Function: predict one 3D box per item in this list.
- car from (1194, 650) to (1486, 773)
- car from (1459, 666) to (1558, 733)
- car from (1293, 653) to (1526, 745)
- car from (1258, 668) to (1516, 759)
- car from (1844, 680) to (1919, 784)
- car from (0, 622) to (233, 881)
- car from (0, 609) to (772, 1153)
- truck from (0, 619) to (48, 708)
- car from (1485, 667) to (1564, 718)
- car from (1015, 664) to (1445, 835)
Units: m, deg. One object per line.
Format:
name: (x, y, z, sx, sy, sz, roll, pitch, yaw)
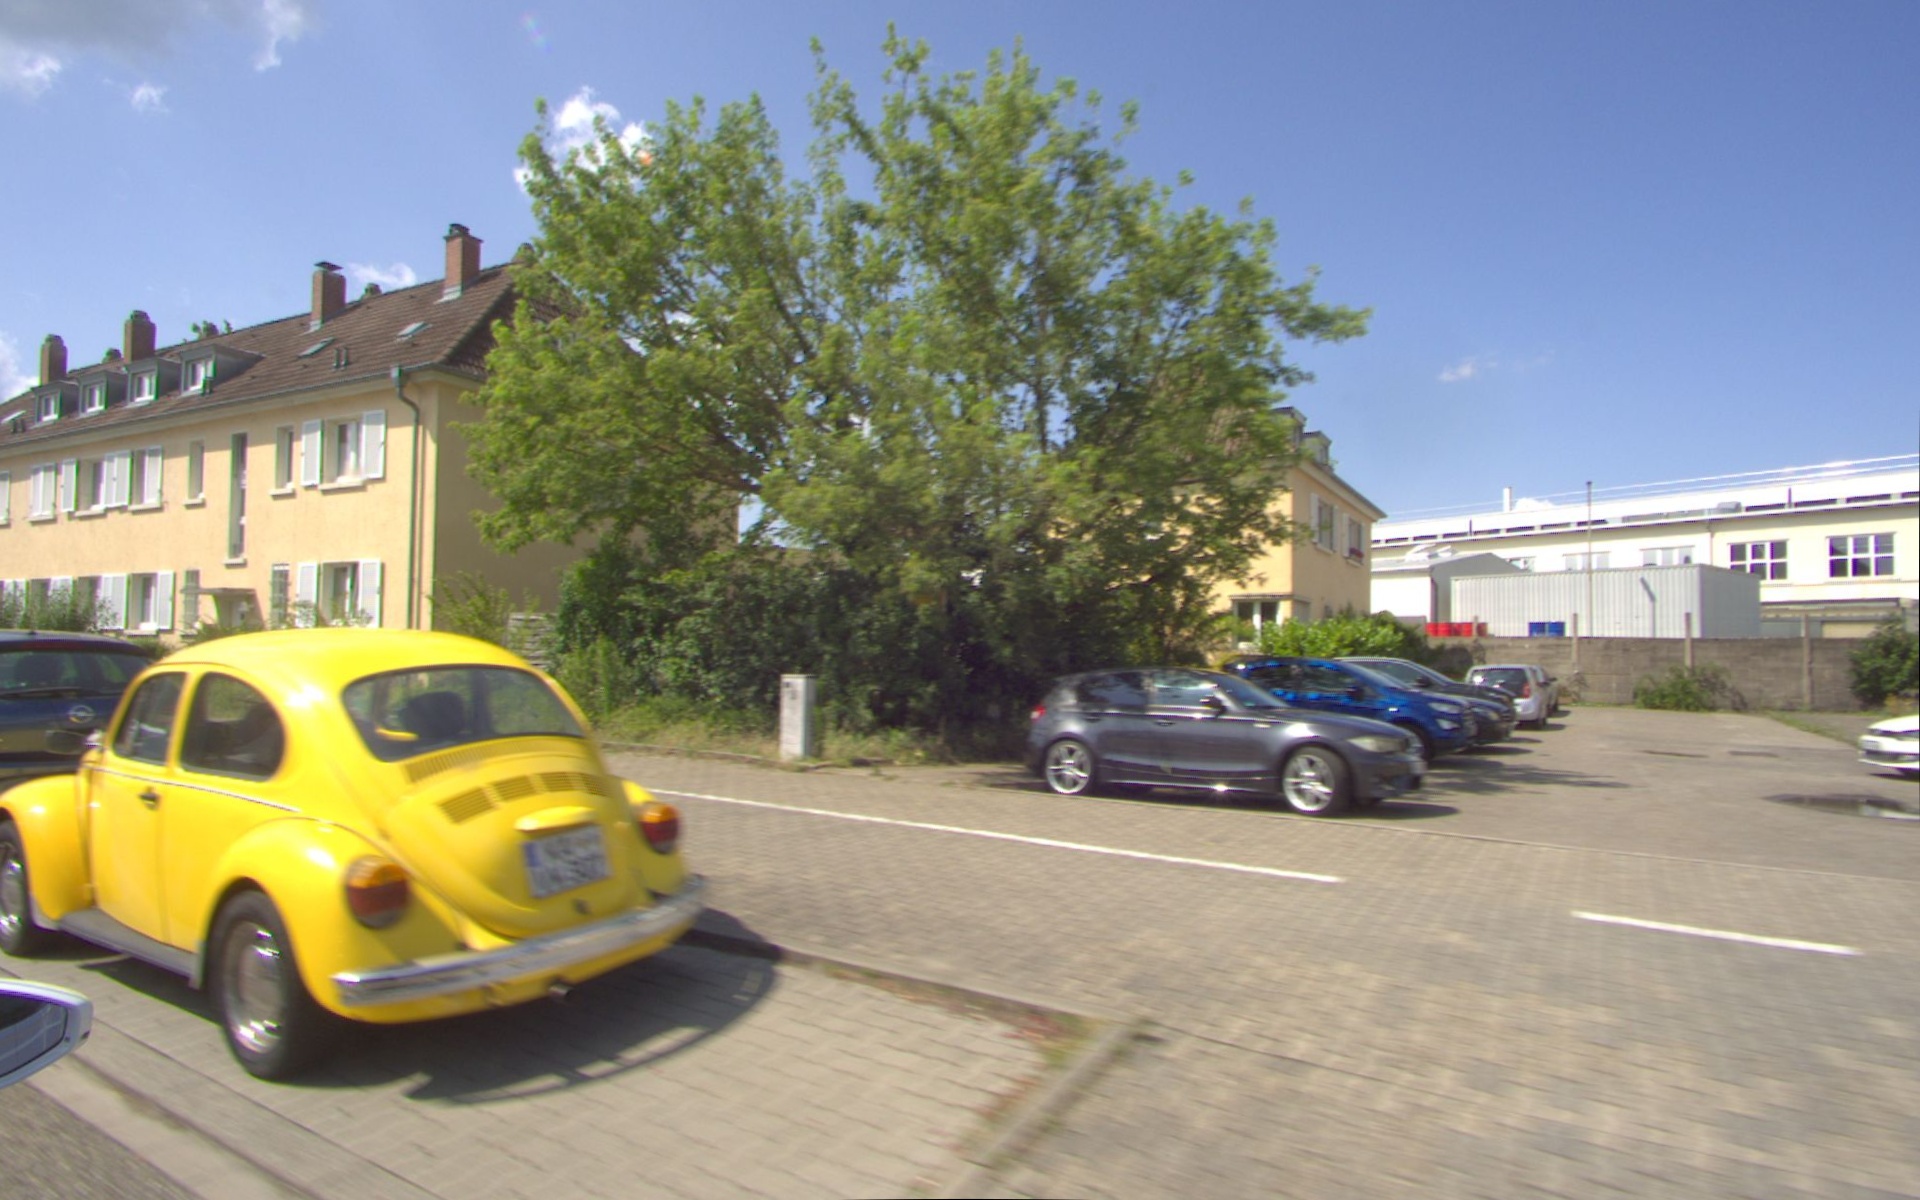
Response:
car: (5.905, 1.642, 15.721, 4.031, 1.567, 1.632, -1, 0, 34)
car: (13.052, 2.301, 23.719, 1.620, 1.453, 4.066, -3, -5, 34)
car: (8.986, 1.958, 20.127, 4.033, 1.684, 1.633, -3, -5, 34)
car: (7.575, 1.944, 17.910, 4.032, 1.418, 1.633, -2, -4, 34)
car: (14.997, 1.864, 13.674, 4.017, 1.390, 1.640, 0, -4, 22)
car: (-7.149, 0.918, 7.122, 4.062, 1.500, 1.636, -1, -3, 30)
car: (-2.852, 0.798, 4.501, 3.874, 1.502, 1.633, 0, 0, 32)
truck: (-19.511, 1.248, 19.876, 2.404, 1.709, 1.346, -1, -3, 29)
car: (16.549, 2.675, 29.279, 1.620, 1.381, 4.066, -3, -5, 34)
car: (2.686, 1.393, 10.441, 4.037, 1.372, 1.631, -1, -3, 38)
